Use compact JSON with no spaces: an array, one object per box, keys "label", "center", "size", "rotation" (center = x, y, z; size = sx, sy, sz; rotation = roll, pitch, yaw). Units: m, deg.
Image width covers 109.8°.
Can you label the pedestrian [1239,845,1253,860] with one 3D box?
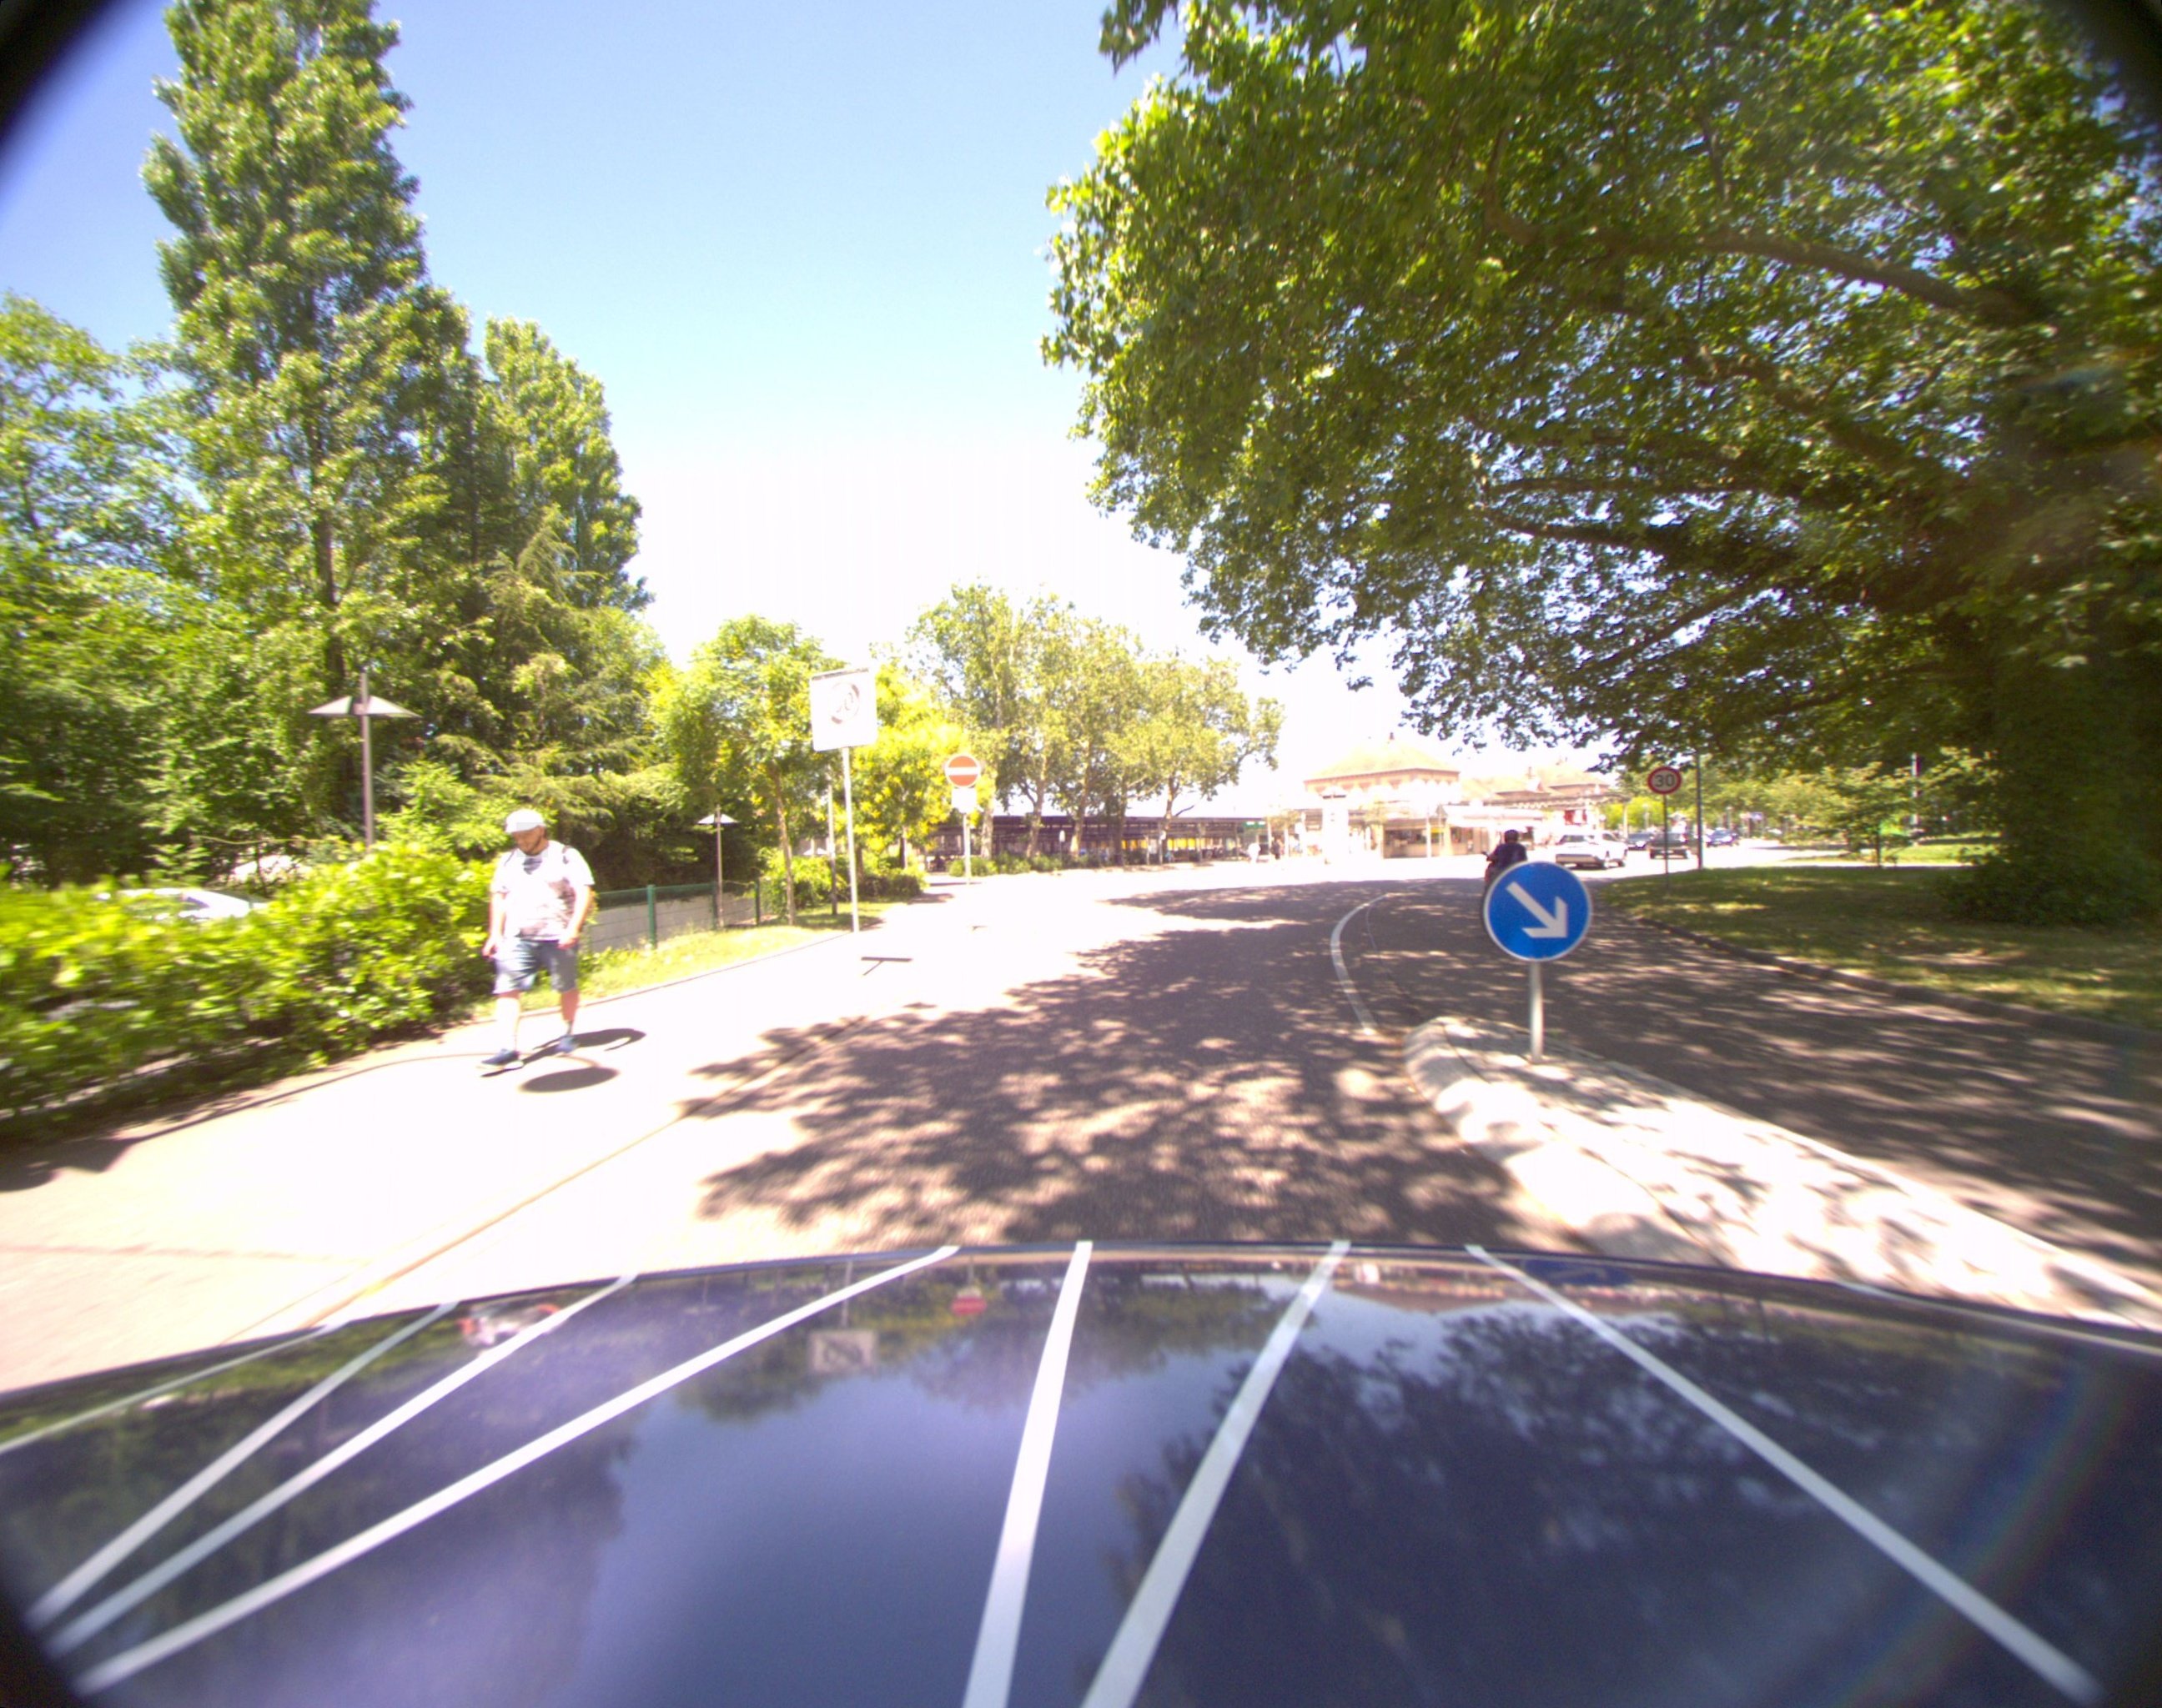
[{"label":"pedestrian","center":[15.715,-0.179,72.413],"size":[0.832,1.378,0.960],"rotation":[-3,1,-38]}]

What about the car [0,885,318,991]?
[{"label":"car","center":[-17.313,1.472,13.896],"size":[4.508,1.491,1.765],"rotation":[-3,1,-38]}]

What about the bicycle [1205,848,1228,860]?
[{"label":"bicycle","center":[13.144,-0.005,73.625],"size":[0.671,1.068,2.163],"rotation":[-7,5,-41]}]

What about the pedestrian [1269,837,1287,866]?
[{"label":"pedestrian","center":[12.139,-0.143,46.828],"size":[0.914,1.775,0.695],"rotation":[-2,1,2]}]

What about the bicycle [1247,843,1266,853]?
[{"label":"bicycle","center":[19.860,-0.643,86.083],"size":[0.671,1.068,2.163],"rotation":[-7,5,-34]}]

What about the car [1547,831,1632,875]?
[{"label":"car","center":[21.878,-0.084,32.645],"size":[4.332,1.737,2.043],"rotation":[-1,2,-42]}]

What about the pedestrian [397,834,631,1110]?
[{"label":"pedestrian","center":[-3.946,0.748,5.367],"size":[0.913,1.762,0.916],"rotation":[0,1,11]}]

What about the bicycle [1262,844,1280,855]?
[{"label":"bicycle","center":[21.284,-0.545,85.161],"size":[2.172,1.068,0.668],"rotation":[-6,5,-35]}]

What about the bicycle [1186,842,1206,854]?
[{"label":"bicycle","center":[12.106,-0.627,80.235],"size":[2.172,1.068,0.668],"rotation":[-6,5,-35]}]

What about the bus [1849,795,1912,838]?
[{"label":"bus","center":[67.413,-3.152,63.968],"size":[11.878,3.283,2.809],"rotation":[-3,1,-39]}]

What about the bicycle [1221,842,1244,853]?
[{"label":"bicycle","center":[16.302,-0.713,81.683],"size":[2.163,1.068,0.864],"rotation":[-1,5,34]}]

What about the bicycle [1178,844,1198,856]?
[{"label":"bicycle","center":[11.441,-0.418,81.234],"size":[2.172,1.068,0.668],"rotation":[-6,5,-35]}]

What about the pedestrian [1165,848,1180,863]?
[{"label":"pedestrian","center":[7.976,0.154,66.123],"size":[0.869,1.267,0.828],"rotation":[-3,1,-42]}]

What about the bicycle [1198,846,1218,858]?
[{"label":"bicycle","center":[13.183,-0.228,78.947],"size":[2.172,1.068,0.668],"rotation":[-6,5,-35]}]

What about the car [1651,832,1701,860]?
[{"label":"car","center":[31.310,-0.446,39.935],"size":[1.641,1.409,4.008],"rotation":[0,2,44]}]

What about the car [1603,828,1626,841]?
[{"label":"car","center":[88.587,-3.301,126.114],"size":[4.007,2.002,1.995],"rotation":[-3,1,-39]}]

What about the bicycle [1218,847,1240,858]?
[{"label":"bicycle","center":[14.556,-0.171,74.690],"size":[0.671,1.068,2.163],"rotation":[-7,5,-41]}]

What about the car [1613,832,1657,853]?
[{"label":"car","center":[44.960,-0.936,61.642],"size":[4.190,1.536,1.774],"rotation":[-3,3,-39]}]

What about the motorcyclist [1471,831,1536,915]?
[{"label":"motorcyclist","center":[8.125,0.344,14.659],"size":[0.808,1.546,1.105],"rotation":[-2,1,14]}]

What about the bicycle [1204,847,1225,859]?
[{"label":"bicycle","center":[13.734,-0.127,78.160],"size":[2.172,1.068,0.668],"rotation":[-6,5,-35]}]

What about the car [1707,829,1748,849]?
[{"label":"car","center":[53.043,-1.224,62.280],"size":[4.190,1.536,1.774],"rotation":[-3,3,-39]}]

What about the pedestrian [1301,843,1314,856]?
[{"label":"pedestrian","center":[23.558,-0.475,78.908],"size":[0.832,1.297,0.960],"rotation":[-3,1,-38]}]

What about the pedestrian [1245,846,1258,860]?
[{"label":"pedestrian","center":[16.387,-0.096,73.024],"size":[0.832,1.297,0.960],"rotation":[-3,1,-38]}]

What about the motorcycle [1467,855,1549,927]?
[{"label":"motorcycle","center":[8.103,0.670,14.518],"size":[0.808,1.224,2.052],"rotation":[-2,1,14]}]

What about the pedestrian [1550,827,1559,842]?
[{"label":"pedestrian","center":[40.509,-1.642,65.025],"size":[0.514,1.225,0.502],"rotation":[-3,1,-45]}]

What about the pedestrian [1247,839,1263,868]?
[{"label":"pedestrian","center":[10.738,-0.030,46.905],"size":[0.914,1.726,0.676],"rotation":[-2,1,9]}]
